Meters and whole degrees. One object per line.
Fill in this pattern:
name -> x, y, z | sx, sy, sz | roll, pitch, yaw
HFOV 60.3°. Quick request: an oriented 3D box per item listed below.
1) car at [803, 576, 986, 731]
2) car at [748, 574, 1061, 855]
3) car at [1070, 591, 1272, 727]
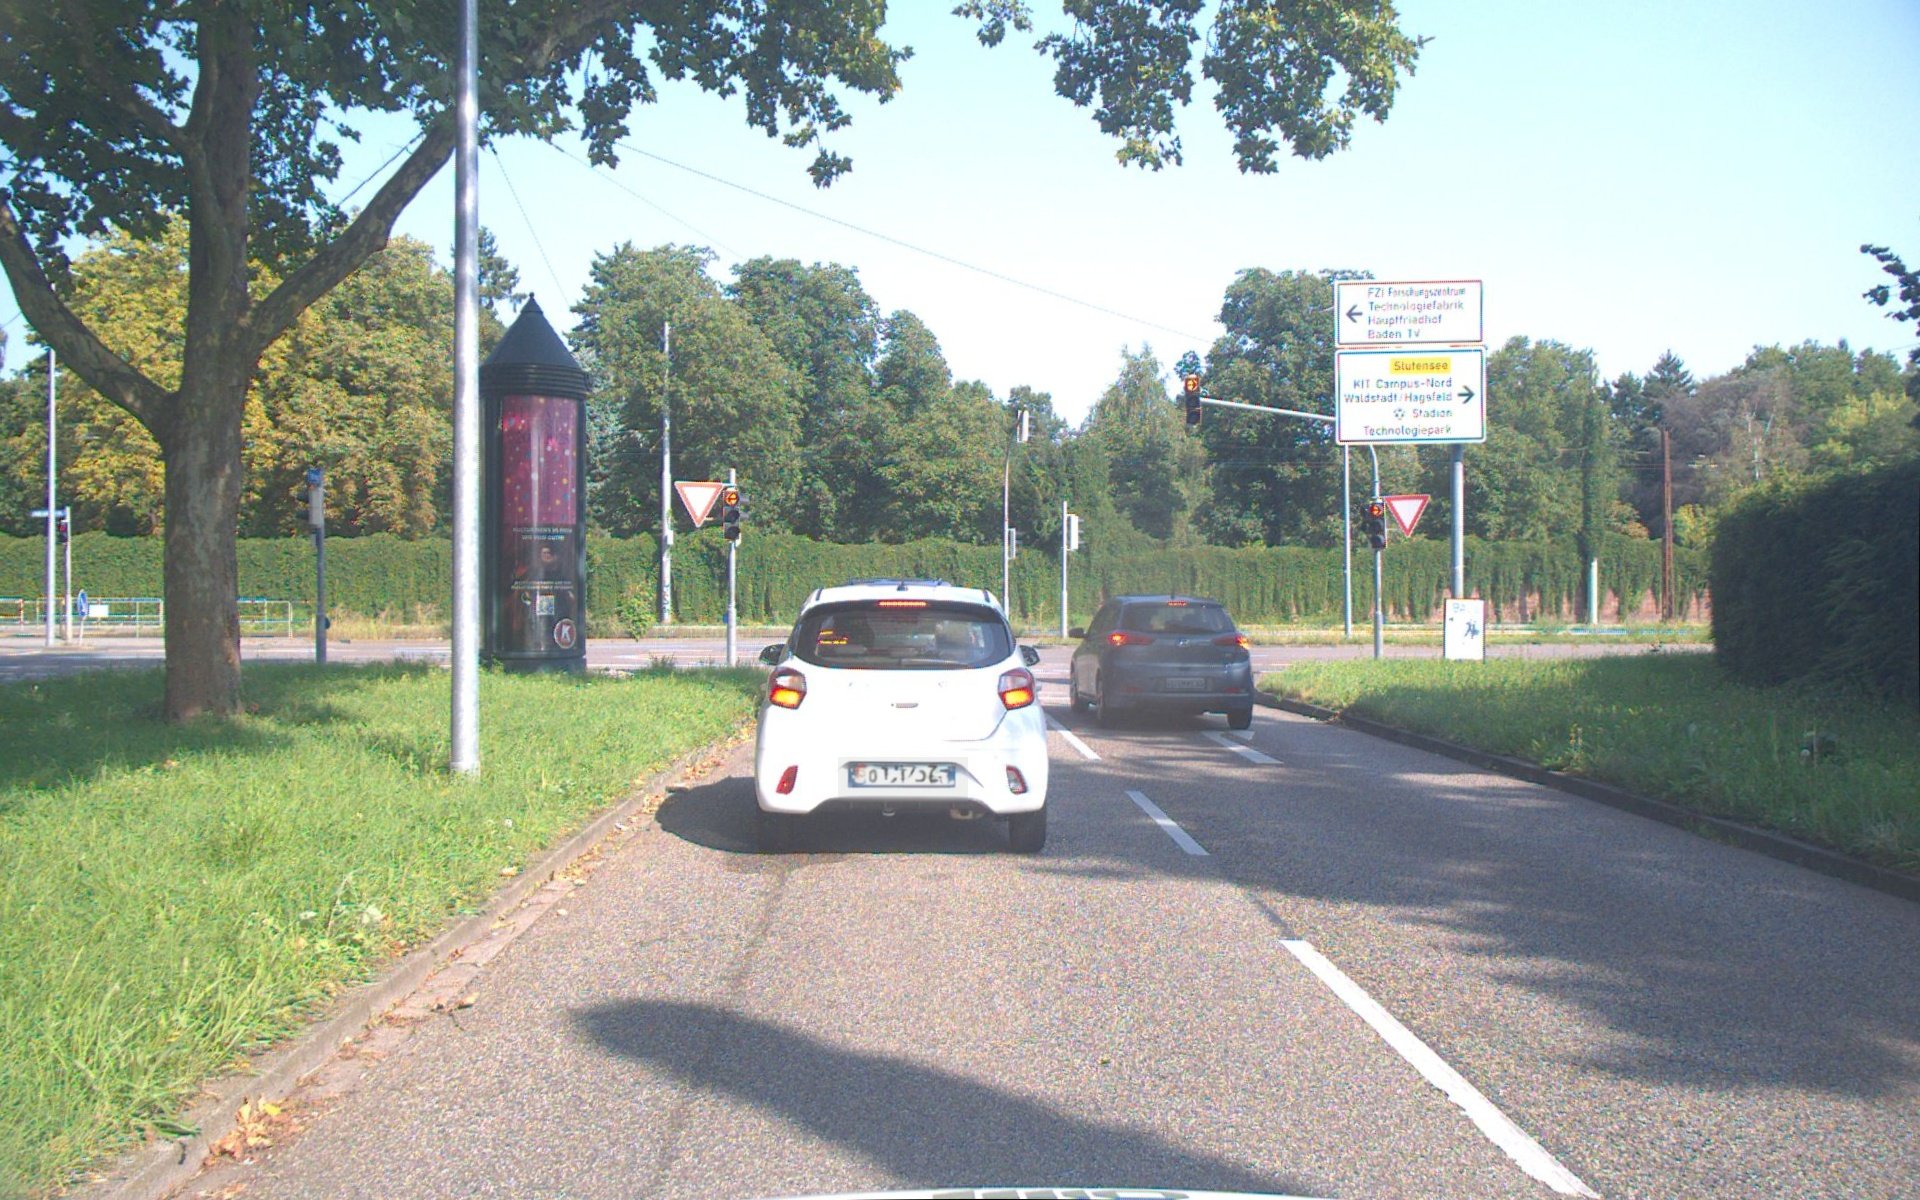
car -> -0.607, 0.507, 17.949 | 1.652, 1.487, 3.851 | 0, 0, 3
car -> -0.307, 0.595, 10.800 | 1.653, 1.487, 4.000 | 0, 0, 0
car -> 2.376, 0.621, 19.577 | 1.761, 1.425, 3.999 | 0, 0, -2
